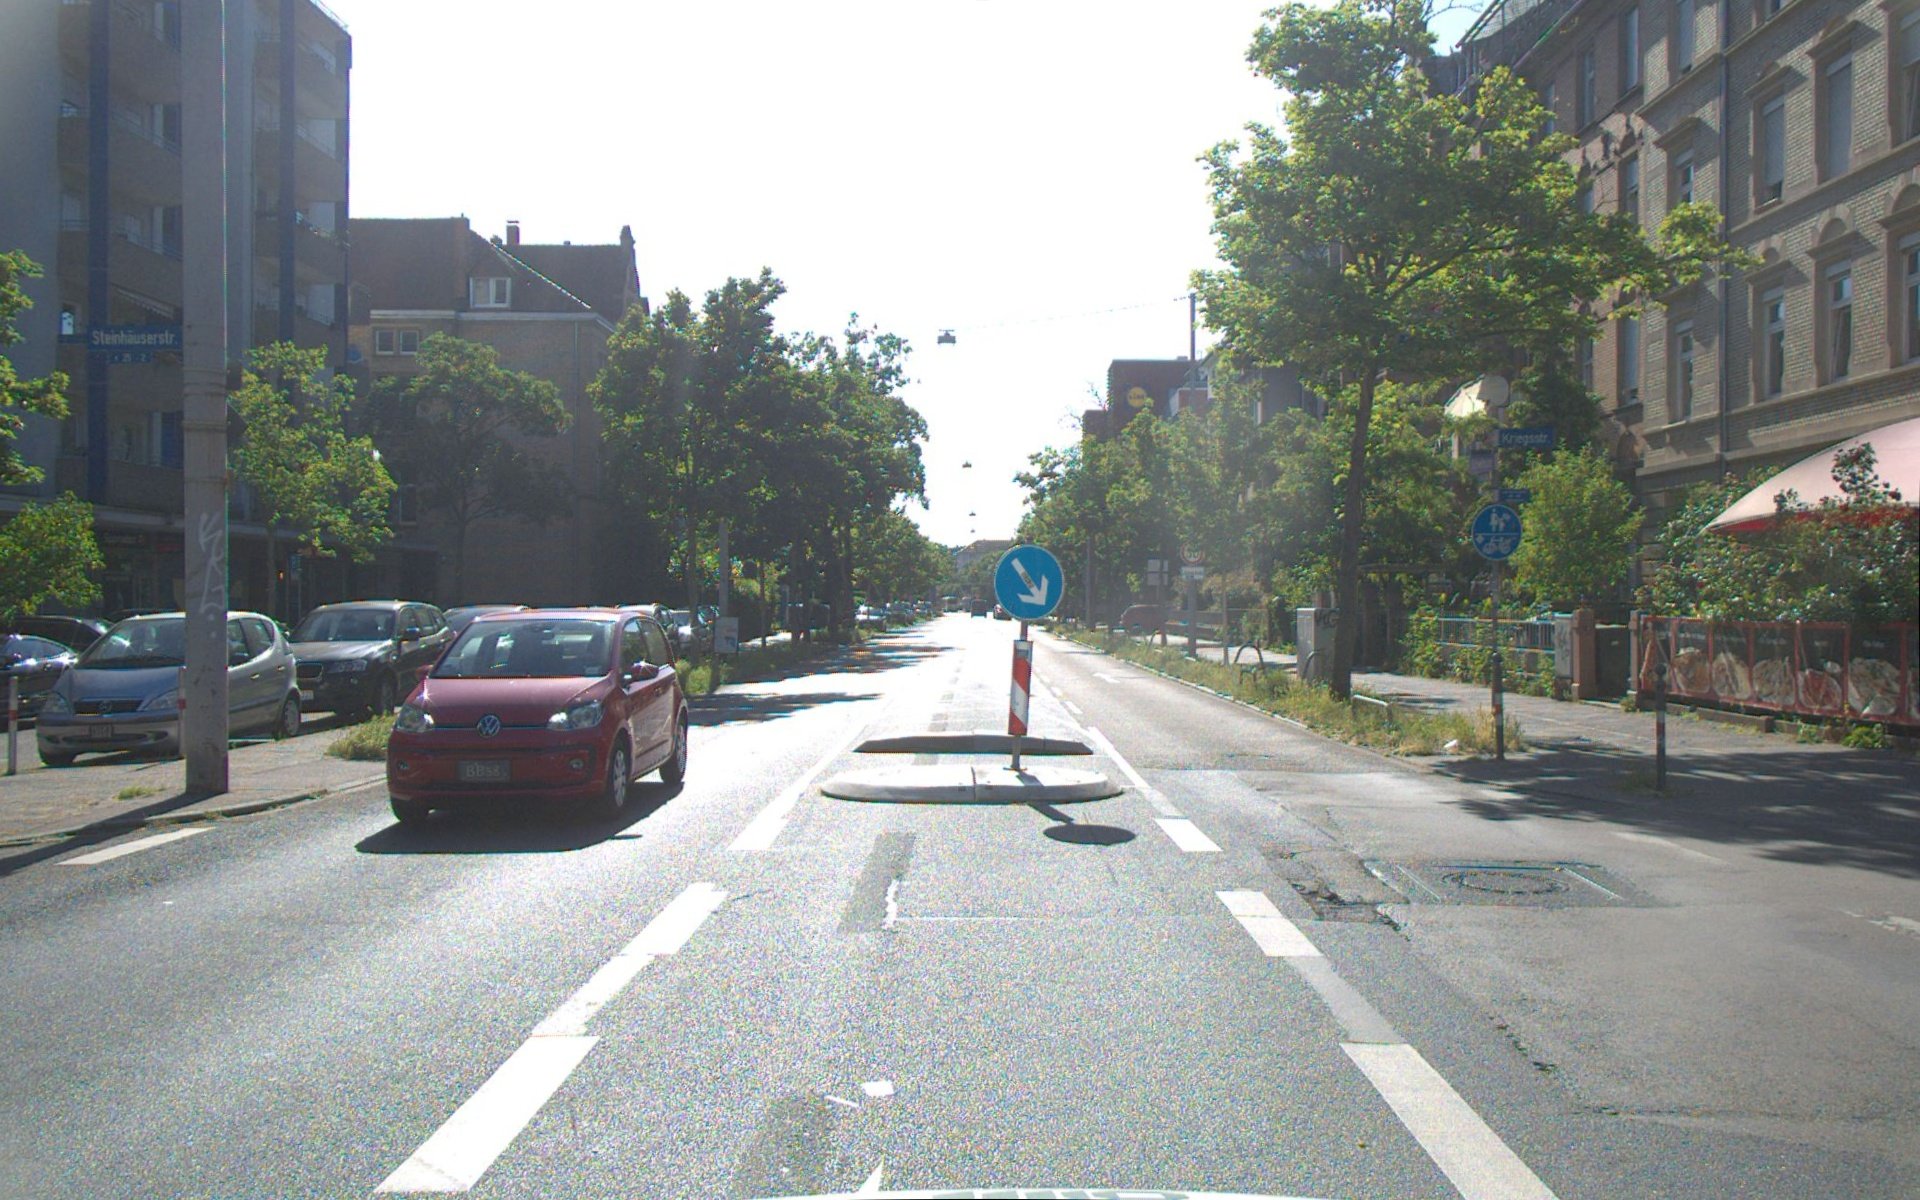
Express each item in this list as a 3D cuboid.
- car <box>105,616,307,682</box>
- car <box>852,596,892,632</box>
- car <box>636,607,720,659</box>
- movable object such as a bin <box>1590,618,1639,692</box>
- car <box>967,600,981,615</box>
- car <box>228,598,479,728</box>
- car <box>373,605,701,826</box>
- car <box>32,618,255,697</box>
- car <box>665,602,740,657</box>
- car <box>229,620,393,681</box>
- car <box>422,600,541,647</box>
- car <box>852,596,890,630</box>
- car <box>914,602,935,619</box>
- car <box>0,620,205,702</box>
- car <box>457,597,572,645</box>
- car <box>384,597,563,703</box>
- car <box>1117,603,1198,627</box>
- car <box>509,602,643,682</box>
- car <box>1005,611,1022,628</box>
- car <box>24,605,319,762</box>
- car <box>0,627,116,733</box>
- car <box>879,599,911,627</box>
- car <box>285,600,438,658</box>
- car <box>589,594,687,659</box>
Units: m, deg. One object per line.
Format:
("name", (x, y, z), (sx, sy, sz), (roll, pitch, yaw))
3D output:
("car", (-17.492, 1.118, 38.480), (3.907, 1.449, 1.686), (0, 0, -3))
("car", (-5.181, 0.801, 98.042), (1.952, 2.049, 4.207), (-1, 0, 3))
("car", (-8.165, 0.944, 48.187), (1.718, 1.422, 4.000), (0, 0, 0))
("movable object such as a bin", (10.273, 0.858, 25.978), (0.556, 1.153, 0.552), (0, 0, 1))
("car", (1.772, 0.974, 212.375), (1.722, 1.815, 4.001), (0, 0, 1))
("car", (-8.531, 0.818, 23.722), (1.829, 1.656, 4.505), (-1, 0, 1))
("car", (-3.104, 0.780, 12.819), (1.617, 1.453, 3.507), (0, 0, 0))
("car", (-17.664, 1.227, 35.904), (3.907, 1.635, 1.840), (0, 0, -3))
("car", (-8.199, 0.912, 52.898), (1.726, 1.675, 4.000), (0, 0, 0))
("car", (-18.117, 1.394, 46.291), (3.907, 1.658, 1.686), (0, 0, -3))
("car", (-17.550, 0.850, 60.753), (3.907, 1.658, 1.686), (0, 0, -3))
("car", (-5.568, 0.814, 103.649), (1.952, 2.049, 4.207), (-1, 0, 3))
("car", (-3.759, 1.083, 174.712), (1.952, 1.725, 4.001), (-1, 0, 3))
("car", (-17.652, 1.215, 33.499), (3.907, 1.578, 1.769), (0, 0, -3))
("car", (-16.994, 0.798, 63.194), (3.907, 1.800, 1.885), (0, 0, -3))
("car", (-8.689, 0.838, 29.967), (1.850, 1.691, 4.530), (-2, 0, 0))
("car", (10.155, 0.755, 85.156), (3.907, 1.244, 1.802), (0, 0, -3))
("car", (-8.434, 0.882, 36.668), (1.824, 1.615, 4.001), (-2, 0, 3))
("car", (5.876, 2.129, 182.437), (1.911, 1.738, 4.001), (0, 0, 1))
("car", (-8.709, 0.855, 18.605), (1.685, 1.545, 3.530), (-1, 0, -2))
("car", (-14.222, 1.146, 23.609), (1.851, 1.422, 4.531), (-1, 0, 3))
("car", (-4.861, 0.931, 125.016), (2.018, 2.049, 4.630), (-1, 0, 2))
("car", (-17.653, 0.851, 48.875), (3.907, 1.658, 1.686), (0, 0, -3))
("car", (-8.293, 0.653, 42.888), (1.715, 1.580, 4.000), (-1, 0, 0))
